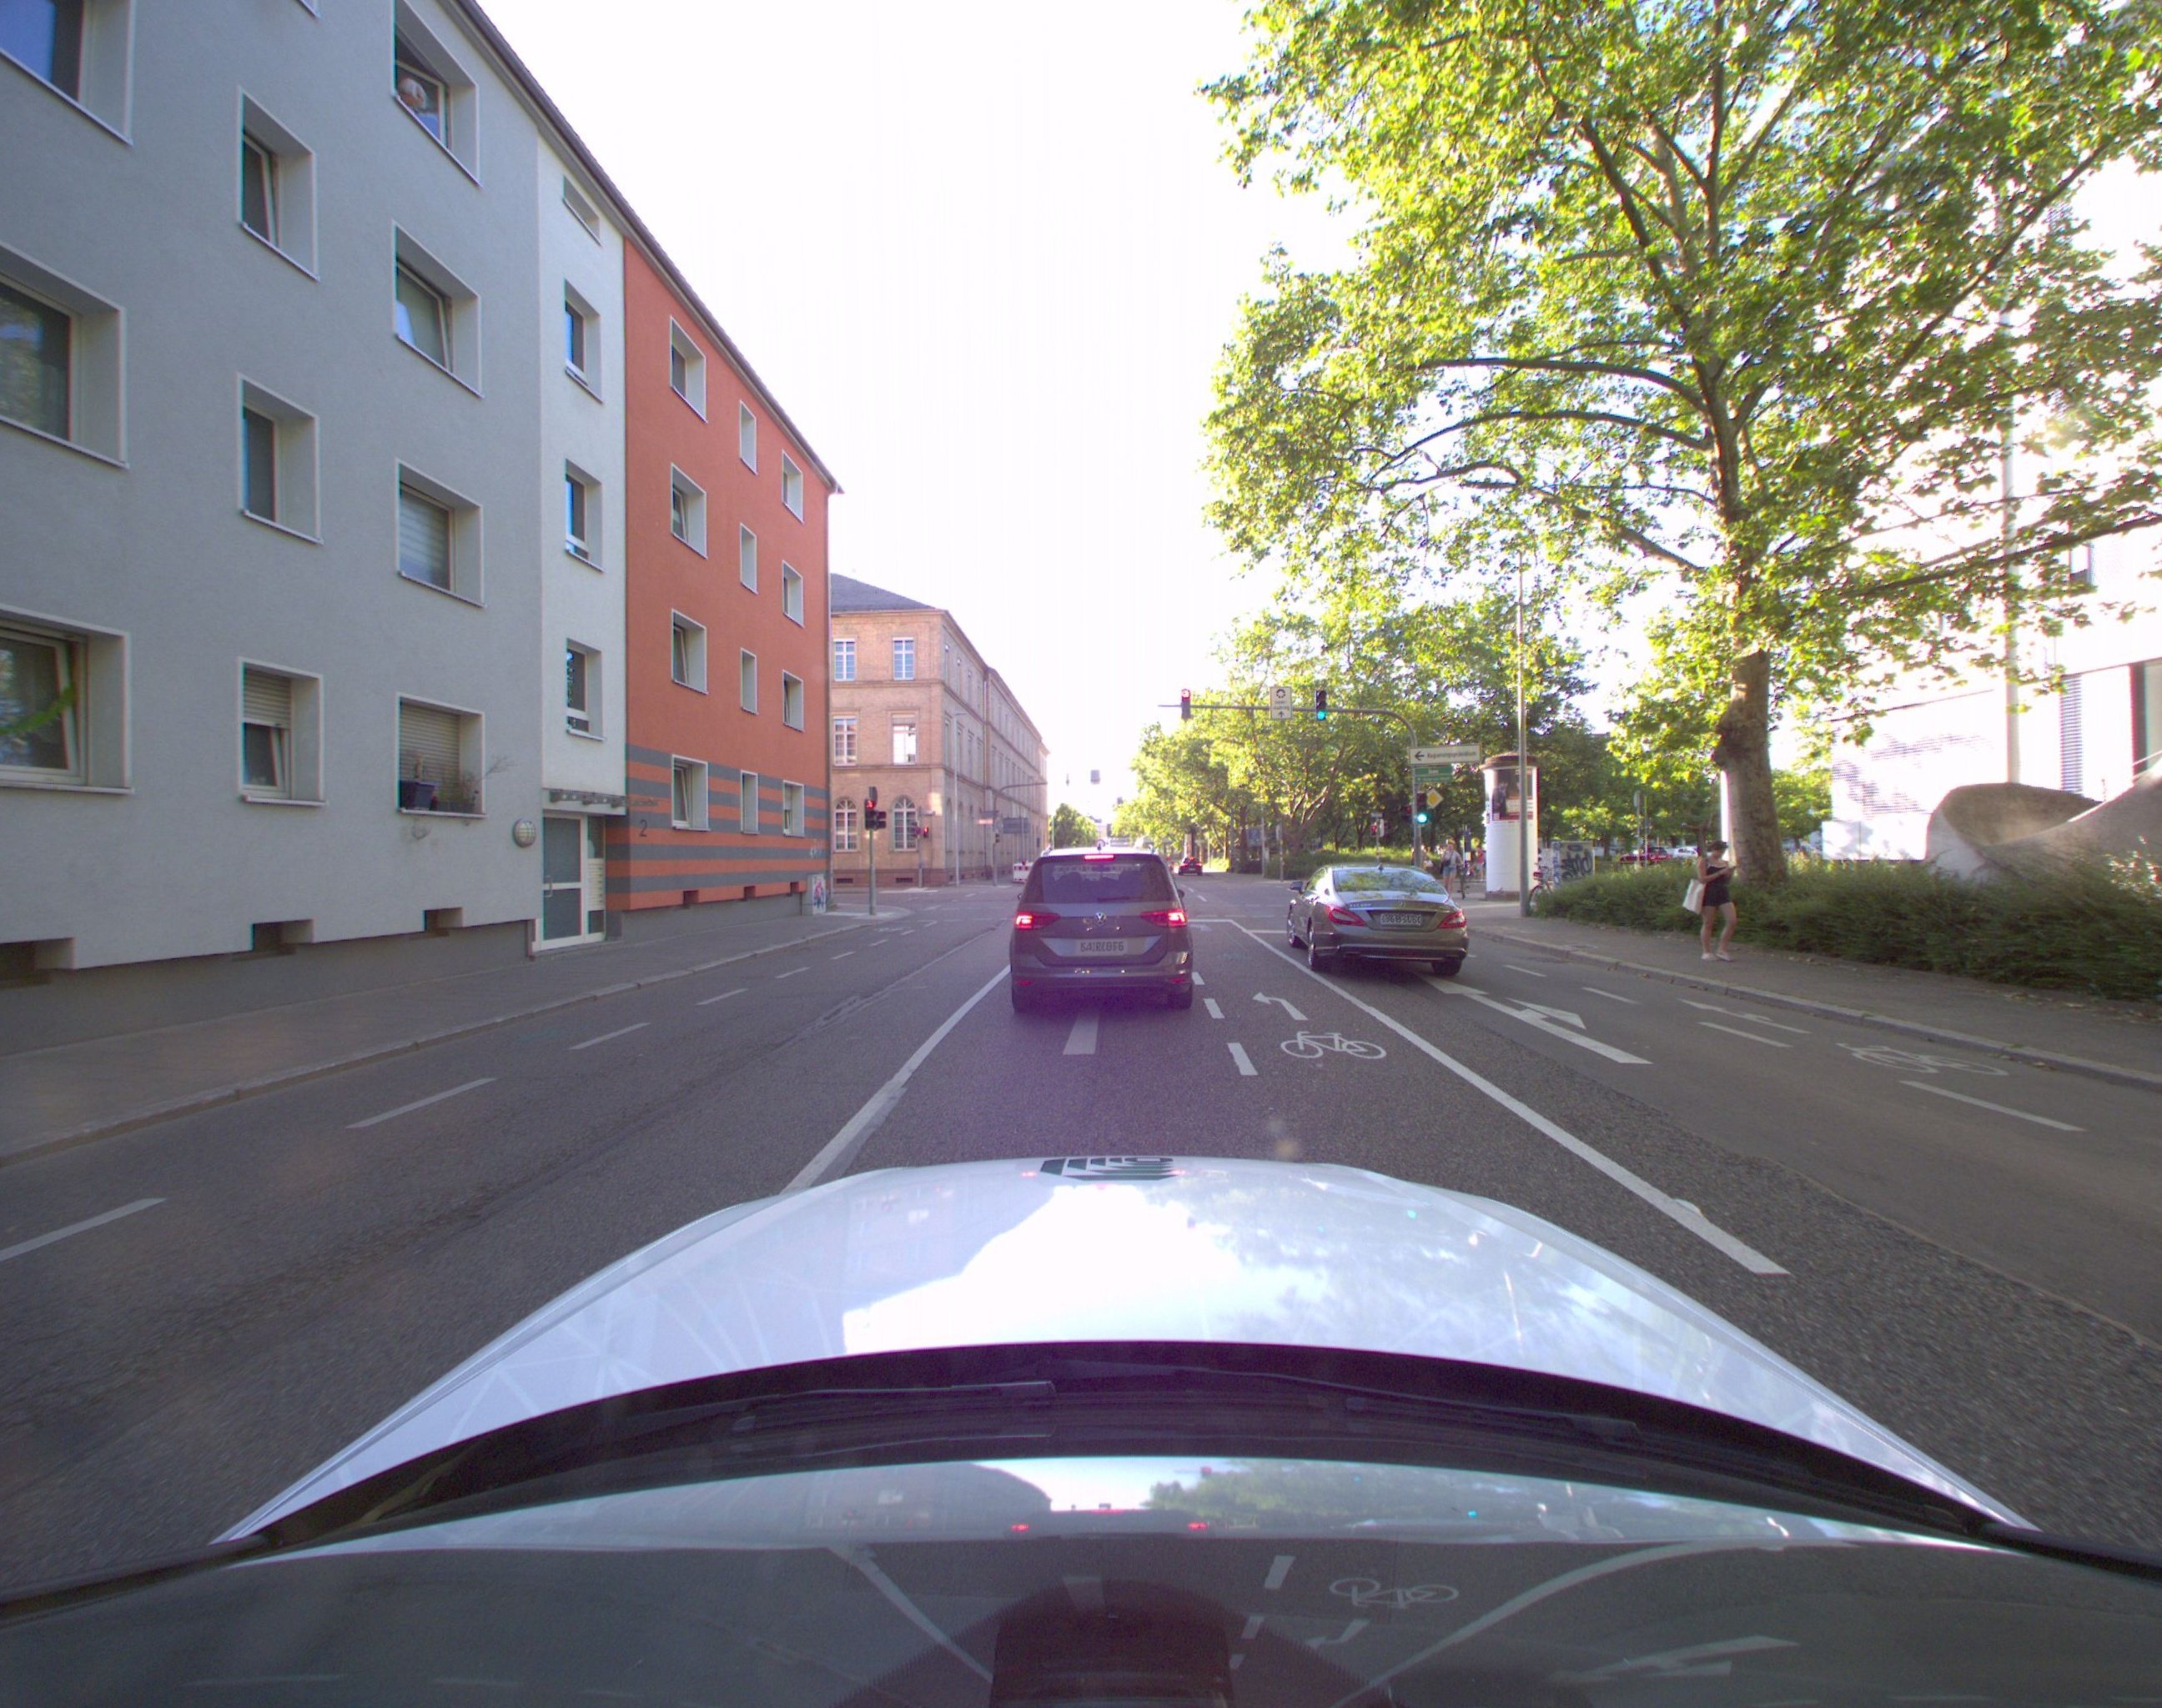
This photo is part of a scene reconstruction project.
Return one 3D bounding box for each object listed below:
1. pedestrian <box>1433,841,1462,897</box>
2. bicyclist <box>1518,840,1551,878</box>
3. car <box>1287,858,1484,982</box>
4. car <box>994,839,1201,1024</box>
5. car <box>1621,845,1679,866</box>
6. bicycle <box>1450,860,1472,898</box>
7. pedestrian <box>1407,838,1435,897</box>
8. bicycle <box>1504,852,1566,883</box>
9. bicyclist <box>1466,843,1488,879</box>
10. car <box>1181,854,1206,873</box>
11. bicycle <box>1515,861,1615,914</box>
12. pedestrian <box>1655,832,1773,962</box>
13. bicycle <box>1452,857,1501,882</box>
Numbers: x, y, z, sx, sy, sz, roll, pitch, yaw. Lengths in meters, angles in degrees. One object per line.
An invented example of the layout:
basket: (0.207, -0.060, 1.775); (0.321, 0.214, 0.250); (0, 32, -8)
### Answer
pedestrian: (11.324, 0.458, 25.181); (0.678, 1.697, 0.975); (0, -1, 17)
bicyclist: (19.770, 0.211, 35.522); (0.959, 1.615, 0.871); (0, -1, 5)
car: (4.103, 0.779, 11.746); (1.832, 1.429, 4.529); (0, 0, 9)
car: (0.299, 0.707, 9.227); (1.801, 1.612, 4.005); (-1, 0, 4)
car: (40.775, 0.099, 58.431); (1.623, 1.482, 3.797); (0, 0, 2)
bicycle: (11.664, 0.745, 25.026); (0.519, 1.100, 1.750); (0, -1, 21)
pedestrian: (10.661, 0.420, 25.545); (0.725, 1.808, 0.914); (-2, -2, 23)
bicycle: (19.791, 0.590, 35.510); (2.279, 1.326, 0.661); (0, -1, 3)
bicyclist: (18.852, 0.349, 38.765); (0.707, 1.697, 0.676); (0, -1, 3)
car: (8.942, 0.767, 65.008); (1.682, 1.440, 3.905); (1, 0, 4)
bicycle: (11.077, 0.766, 18.664); (1.968, 1.190, 0.528); (0, -1, 1)
pedestrian: (8.529, 0.565, 11.015); (0.794, 1.630, 0.908); (-4, -1, 4)
bicycle: (18.817, 0.733, 38.756); (2.022, 1.220, 0.600); (0, -1, 2)
